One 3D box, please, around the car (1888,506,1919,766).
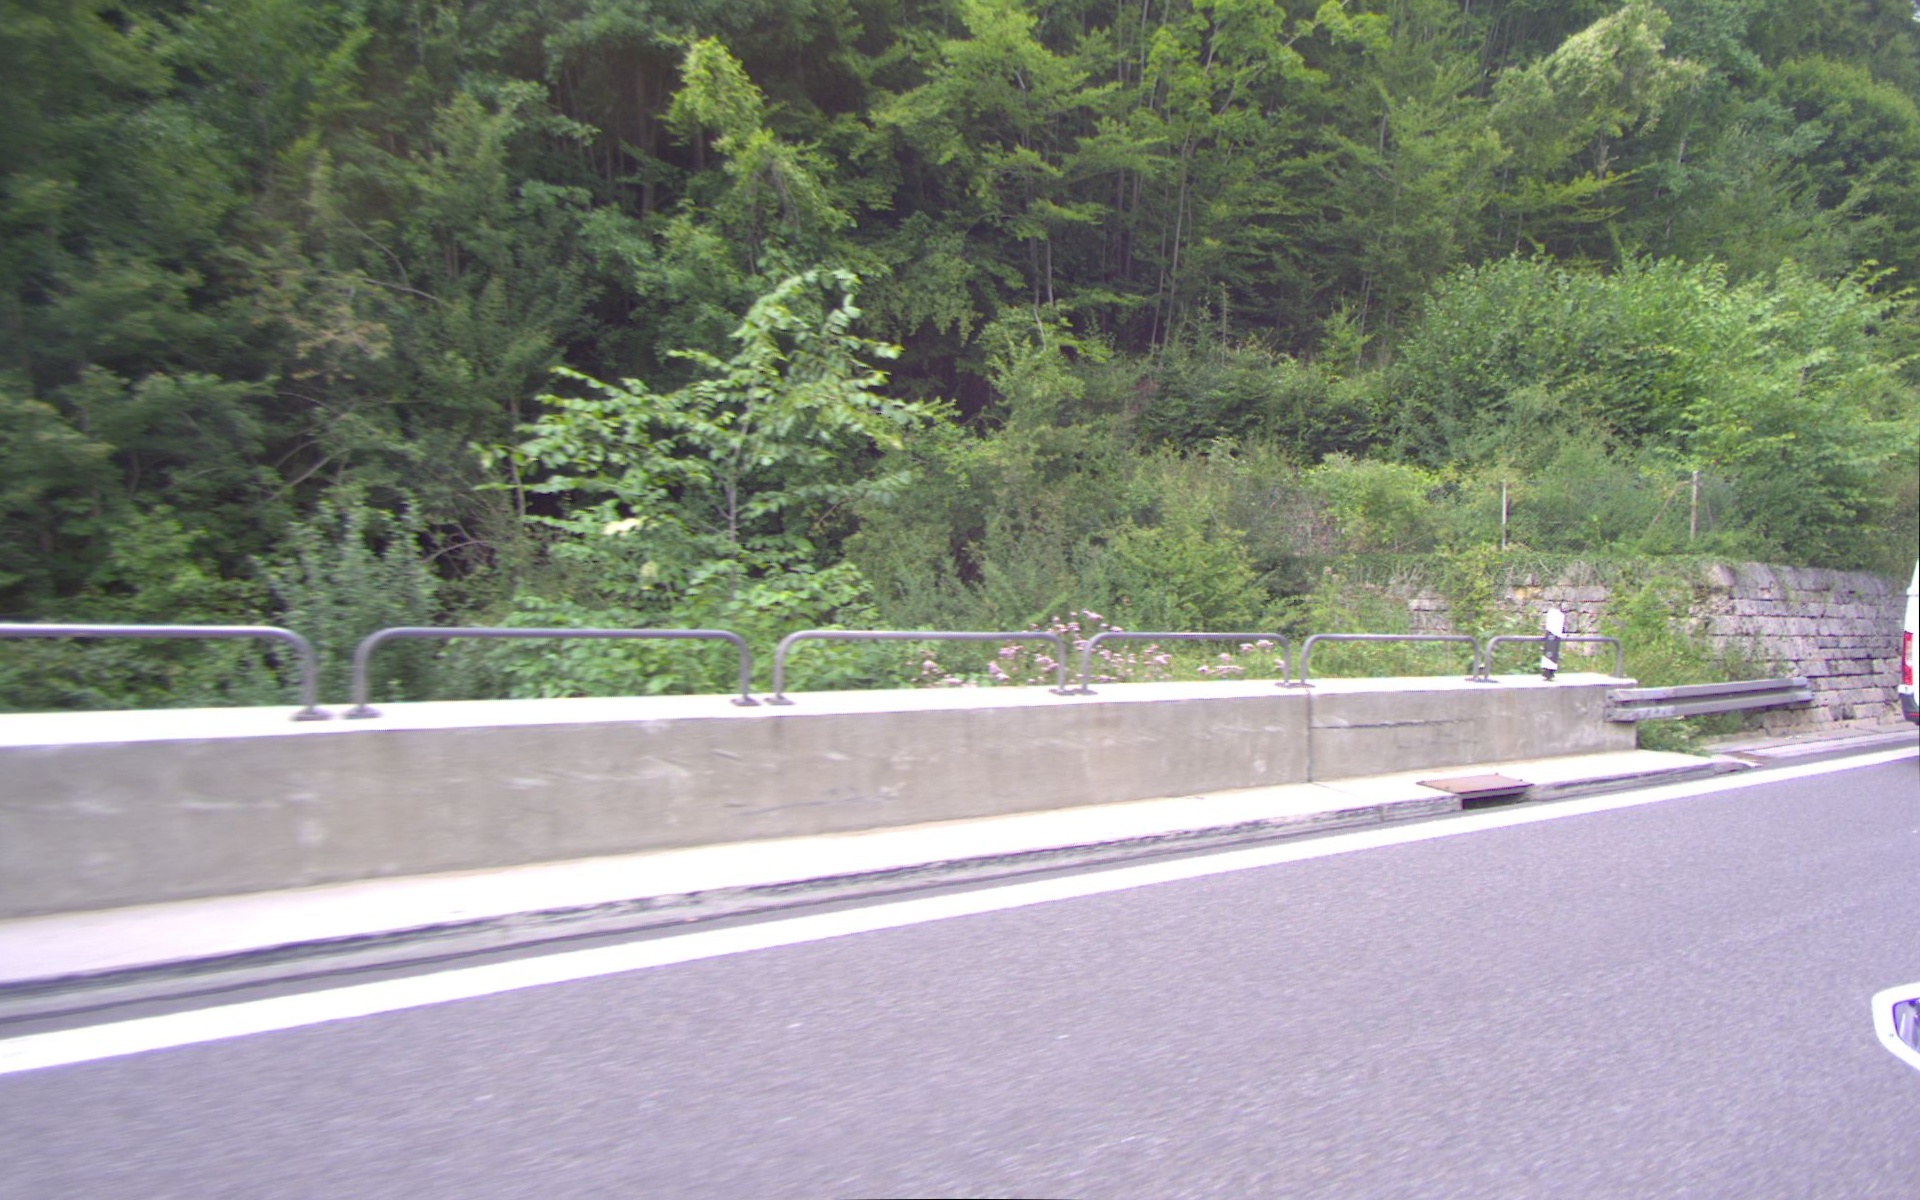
[{"bbox_3d":[13.299,0.427,11.586,6.856,2.708,1.979,1,0,-31],"label":"car"}]
